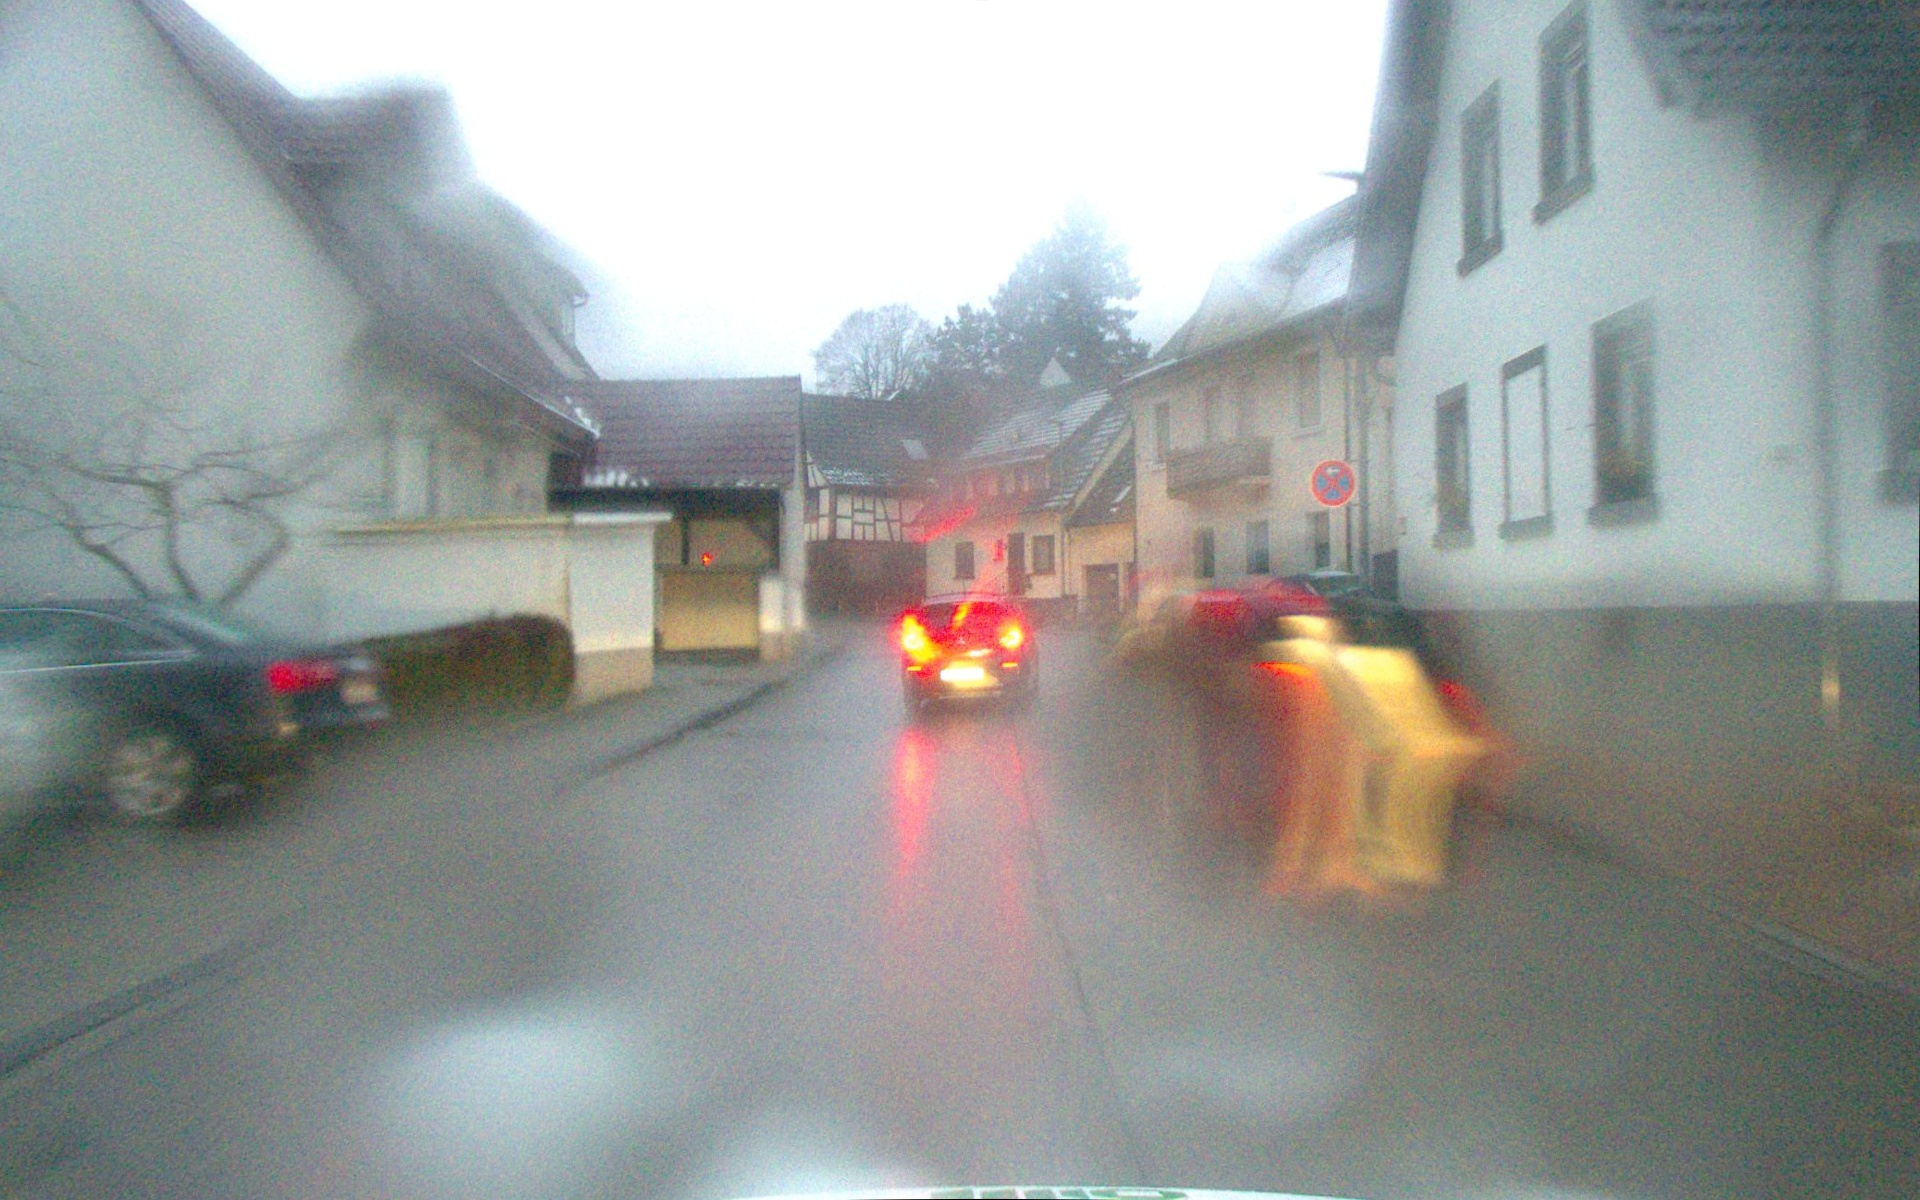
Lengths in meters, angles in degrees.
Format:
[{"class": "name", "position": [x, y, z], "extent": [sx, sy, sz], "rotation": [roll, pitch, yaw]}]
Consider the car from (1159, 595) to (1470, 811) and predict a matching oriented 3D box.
[{"class": "car", "position": [2.737, 0.722, 13.624], "extent": [1.605, 1.497, 3.999], "rotation": [1, 0, -2]}]

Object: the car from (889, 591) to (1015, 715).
[{"class": "car", "position": [-0.037, 0.636, 21.918], "extent": [1.514, 1.491, 3.700], "rotation": [0, 0, 2]}]

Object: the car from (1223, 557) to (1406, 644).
[{"class": "car", "position": [6.940, 0.041, 32.860], "extent": [1.777, 1.513, 4.261], "rotation": [-3, 0, -14]}]

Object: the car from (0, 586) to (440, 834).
[{"class": "car", "position": [-6.153, 0.712, 11.318], "extent": [4.498, 1.496, 2.000], "rotation": [-1, 0, 1]}]

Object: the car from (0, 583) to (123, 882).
[{"class": "car", "position": [-7.046, 0.712, 8.544], "extent": [4.506, 1.496, 1.893], "rotation": [-1, 0, 5]}]

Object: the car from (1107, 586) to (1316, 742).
[{"class": "car", "position": [2.661, 0.623, 18.345], "extent": [1.605, 1.520, 3.999], "rotation": [1, 0, -2]}]
